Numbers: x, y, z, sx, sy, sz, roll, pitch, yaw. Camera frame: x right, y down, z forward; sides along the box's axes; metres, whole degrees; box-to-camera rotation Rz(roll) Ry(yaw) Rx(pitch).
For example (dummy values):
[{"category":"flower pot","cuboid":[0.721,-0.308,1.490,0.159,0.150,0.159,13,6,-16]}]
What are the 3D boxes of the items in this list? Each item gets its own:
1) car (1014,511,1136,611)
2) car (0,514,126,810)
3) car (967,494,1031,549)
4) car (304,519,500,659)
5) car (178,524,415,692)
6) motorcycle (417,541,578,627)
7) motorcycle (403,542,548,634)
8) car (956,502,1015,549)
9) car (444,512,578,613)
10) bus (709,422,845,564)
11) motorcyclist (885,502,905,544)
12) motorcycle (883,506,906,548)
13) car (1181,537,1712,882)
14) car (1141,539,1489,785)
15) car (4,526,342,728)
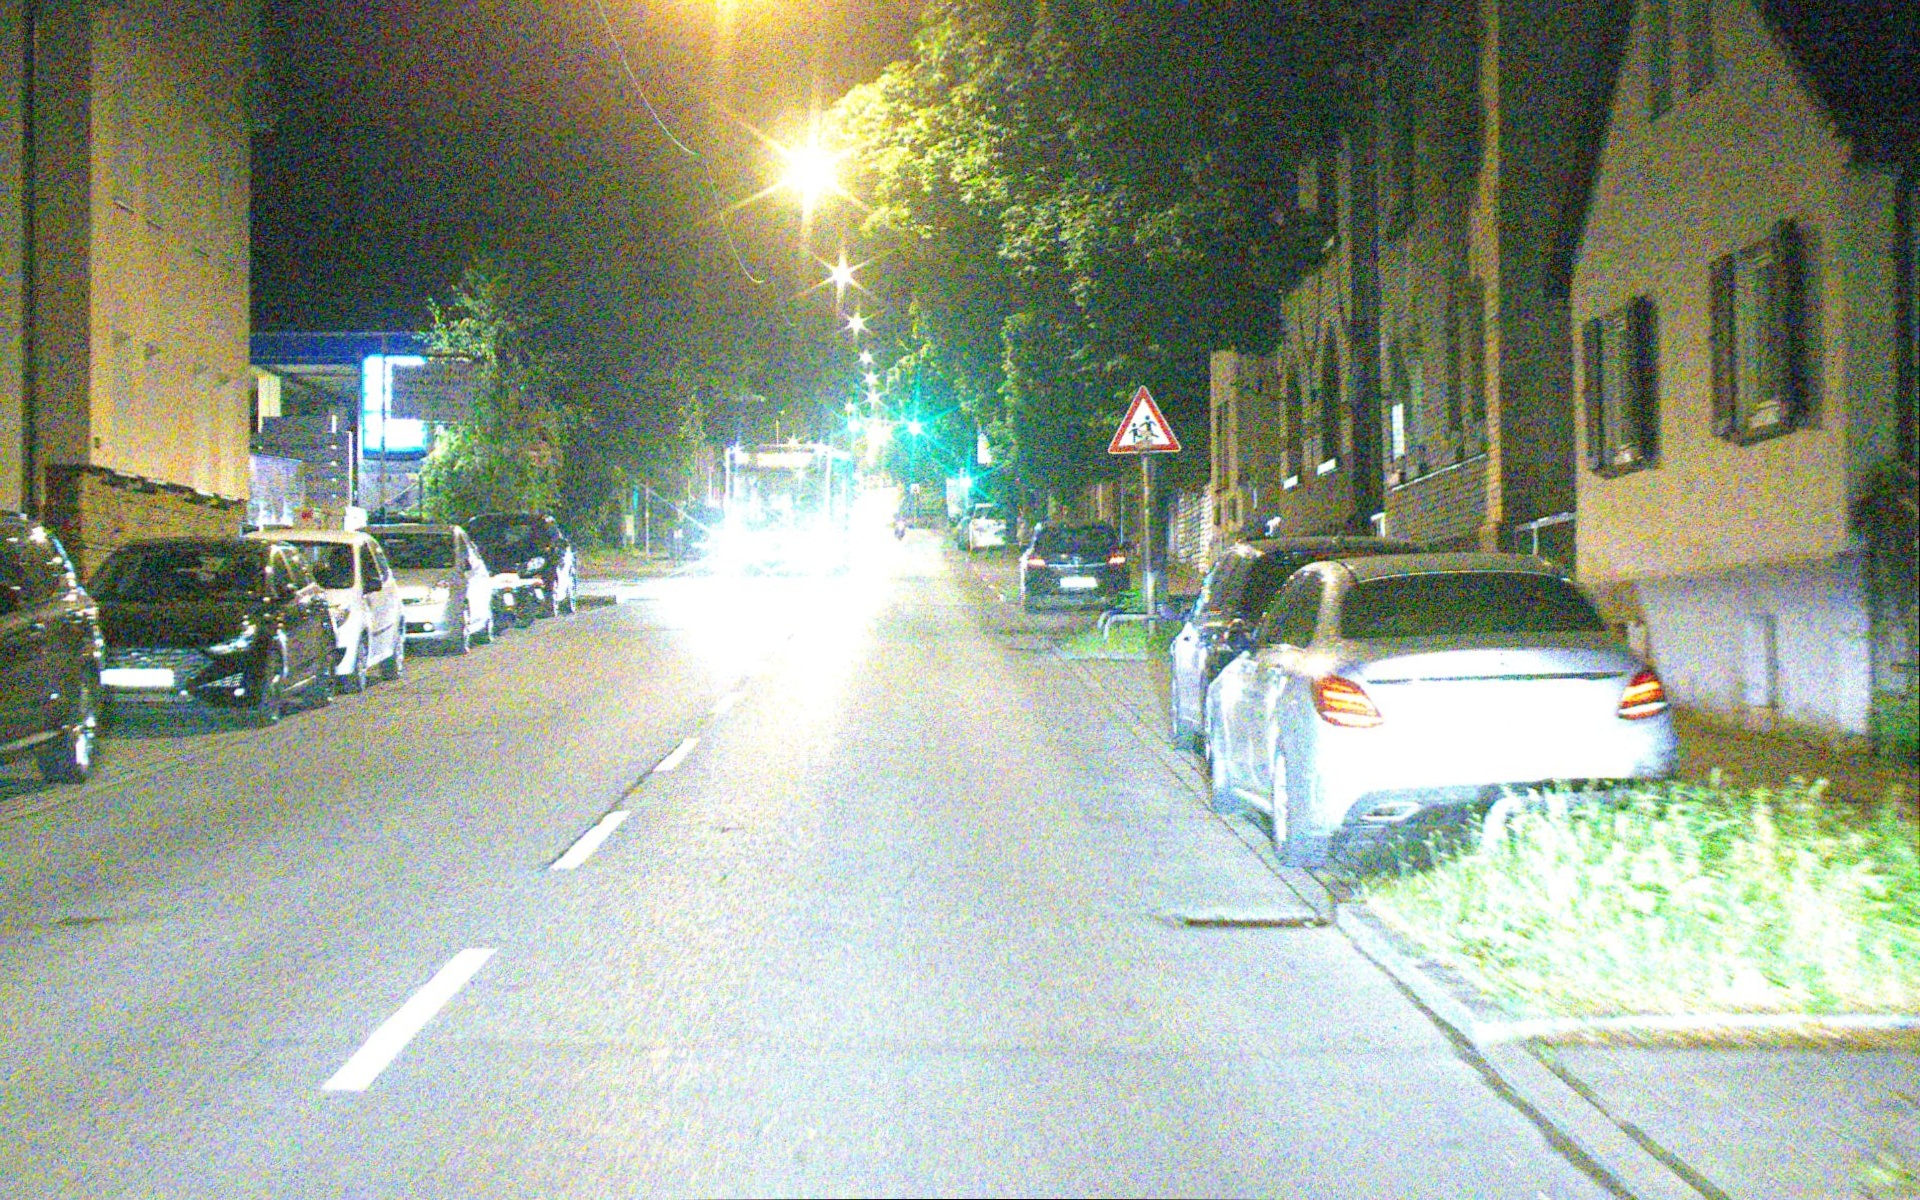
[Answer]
[{"category":"car","cuboid":[1.829,-0.661,55.765,1.763,1.471,4.081,-2,2,-1]},{"category":"car","cuboid":[-6.208,0.322,19.581,1.835,1.613,4.545,1,1,-1]},{"category":"car","cuboid":[1.163,-2.408,104.584,1.812,1.588,4.274,-1,2,-1]},{"category":"car","cuboid":[-6.505,-0.172,40.454,1.704,1.486,4.228,-1,2,-2]},{"category":"car","cuboid":[-6.249,0.046,32.720,1.621,1.486,3.781,1,1,-2]},{"category":"motorcycle","cuboid":[-6.290,-0.223,46.720,2.206,1.127,0.714,1,2,32]},{"category":"motorcycle","cuboid":[-6.310,-0.173,44.701,0.714,1.143,2.208,-2,3,-43]},{"category":"car","cuboid":[0.861,-2.570,117.914,1.868,1.521,4.150,-1,2,-1]},{"category":"car","cuboid":[-6.793,-0.575,52.200,1.638,1.493,2.765,0,1,1]},{"category":"bus","cuboid":[-4.313,-2.599,83.107,2.837,3.166,10.500,1,2,-1]},{"category":"motorcyclist","cuboid":[-2.761,-3.274,146.092,0.848,1.746,0.805,1,1,-1]},{"category":"motorcycle","cuboid":[-2.760,-3.111,145.998,0.931,1.746,2.625,1,1,-1]},{"category":"car","cuboid":[2.276,0.447,17.334,1.845,1.412,4.646,-3,1,-1]},{"category":"car","cuboid":[2.245,0.338,22.709,1.771,1.443,4.020,-1,1,-1]},{"category":"car","cuboid":[-6.284,0.171,27.919,1.863,1.486,4.281,1,1,-2]}]
